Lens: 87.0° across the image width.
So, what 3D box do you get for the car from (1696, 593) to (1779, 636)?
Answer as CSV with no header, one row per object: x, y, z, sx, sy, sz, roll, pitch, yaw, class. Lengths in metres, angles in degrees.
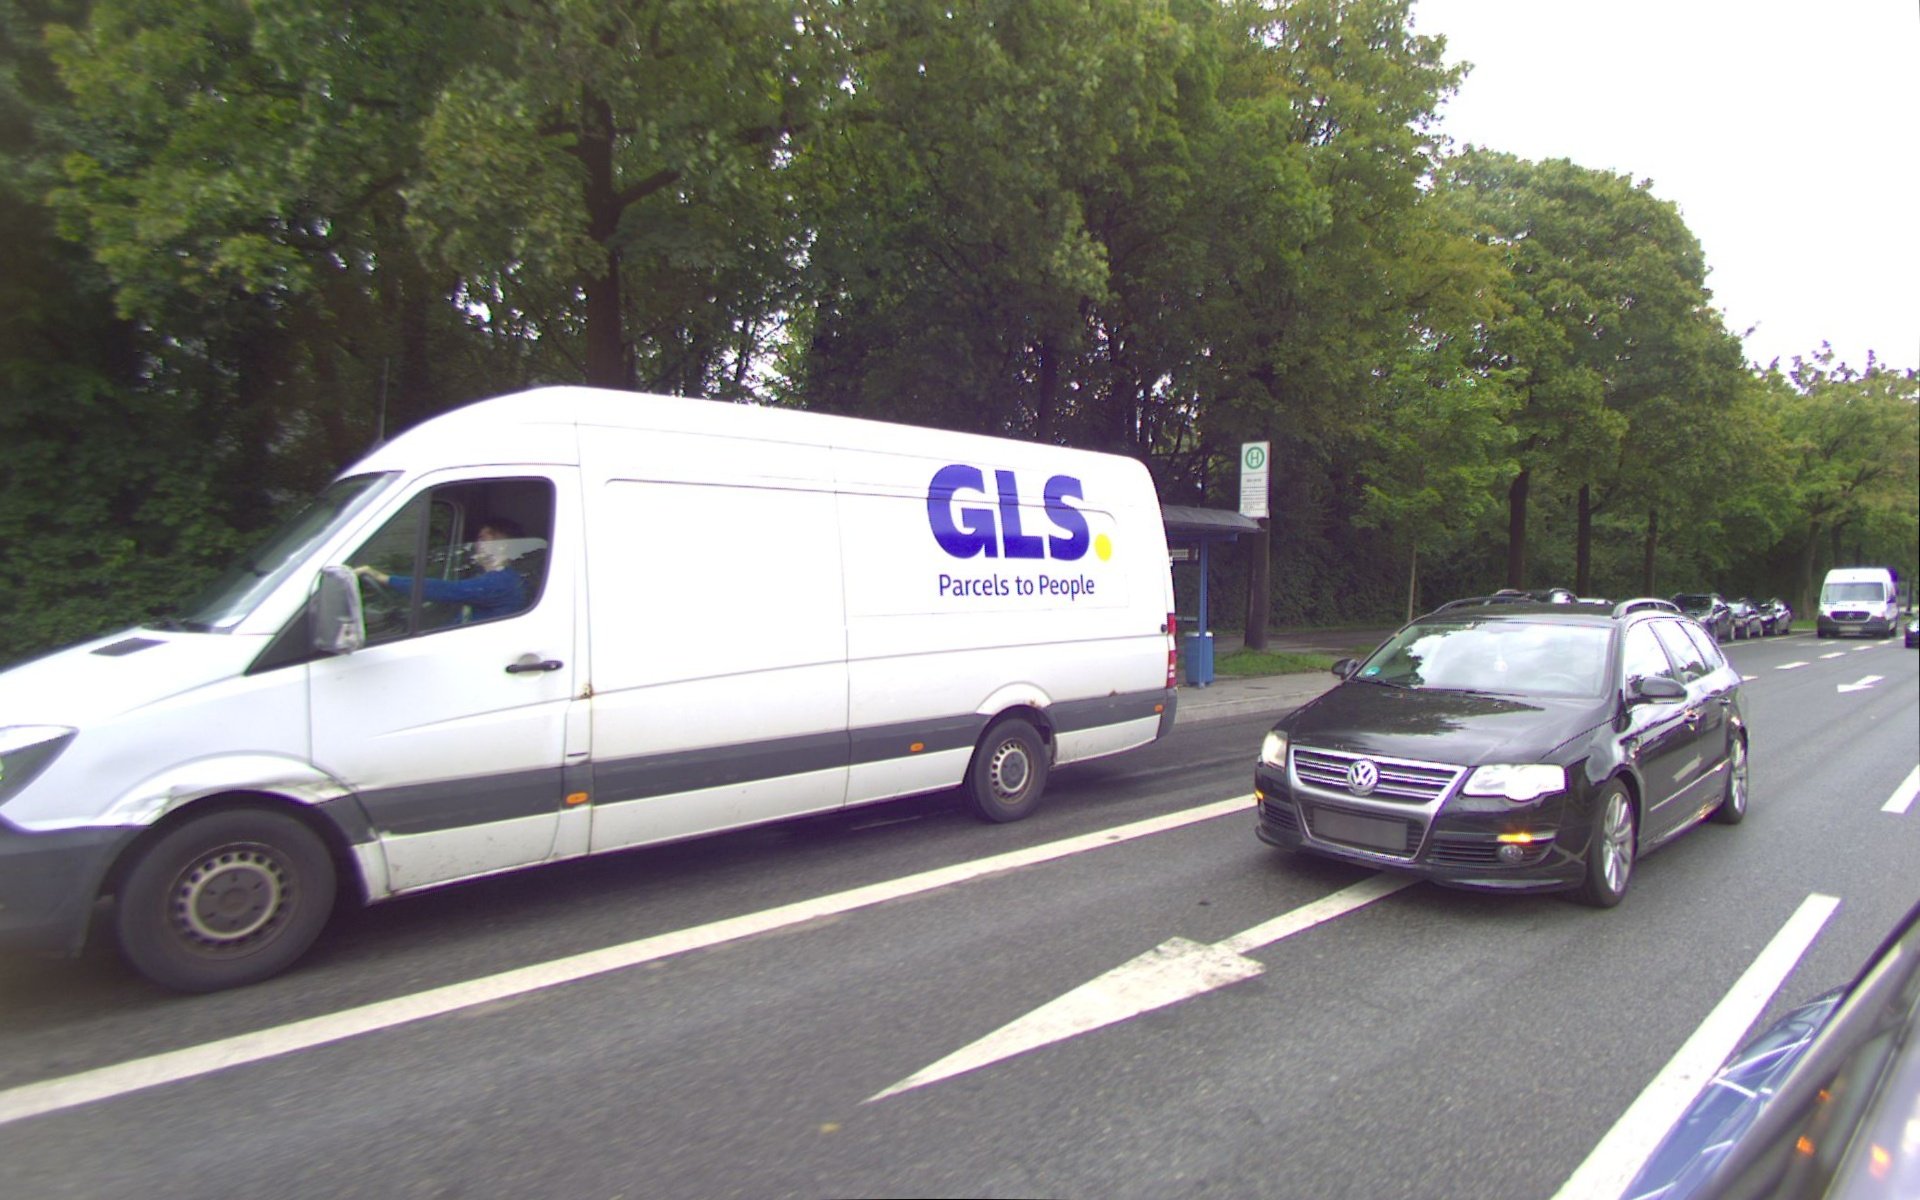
28.898,0.481,37.574,3.969,1.485,1.750,0,1,-42,car

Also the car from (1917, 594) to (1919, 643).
30.484,0.513,30.531,4.589,1.447,1.817,0,-1,-40,car

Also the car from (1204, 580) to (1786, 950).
3.575,0.644,6.280,4.591,1.493,1.750,0,1,-42,car

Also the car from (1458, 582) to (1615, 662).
13.349,0.441,23.329,4.321,1.670,1.882,0,1,-42,car

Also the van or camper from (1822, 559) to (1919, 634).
34.661,-0.149,38.168,6.950,2.593,2.182,0,1,-41,van or camper

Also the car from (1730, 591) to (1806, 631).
32.514,0.409,40.678,4.182,1.485,1.750,0,1,-42,car

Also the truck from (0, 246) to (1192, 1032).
-1.458,0.100,6.342,7.103,2.636,1.996,0,1,-42,truck

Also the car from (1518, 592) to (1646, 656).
16.479,0.571,26.722,4.321,1.543,1.750,0,1,-42,car

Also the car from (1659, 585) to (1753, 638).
25.134,0.332,34.067,4.182,1.670,1.750,0,1,-42,car

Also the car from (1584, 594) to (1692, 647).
20.447,0.570,30.452,4.182,1.446,1.750,0,1,-42,car
